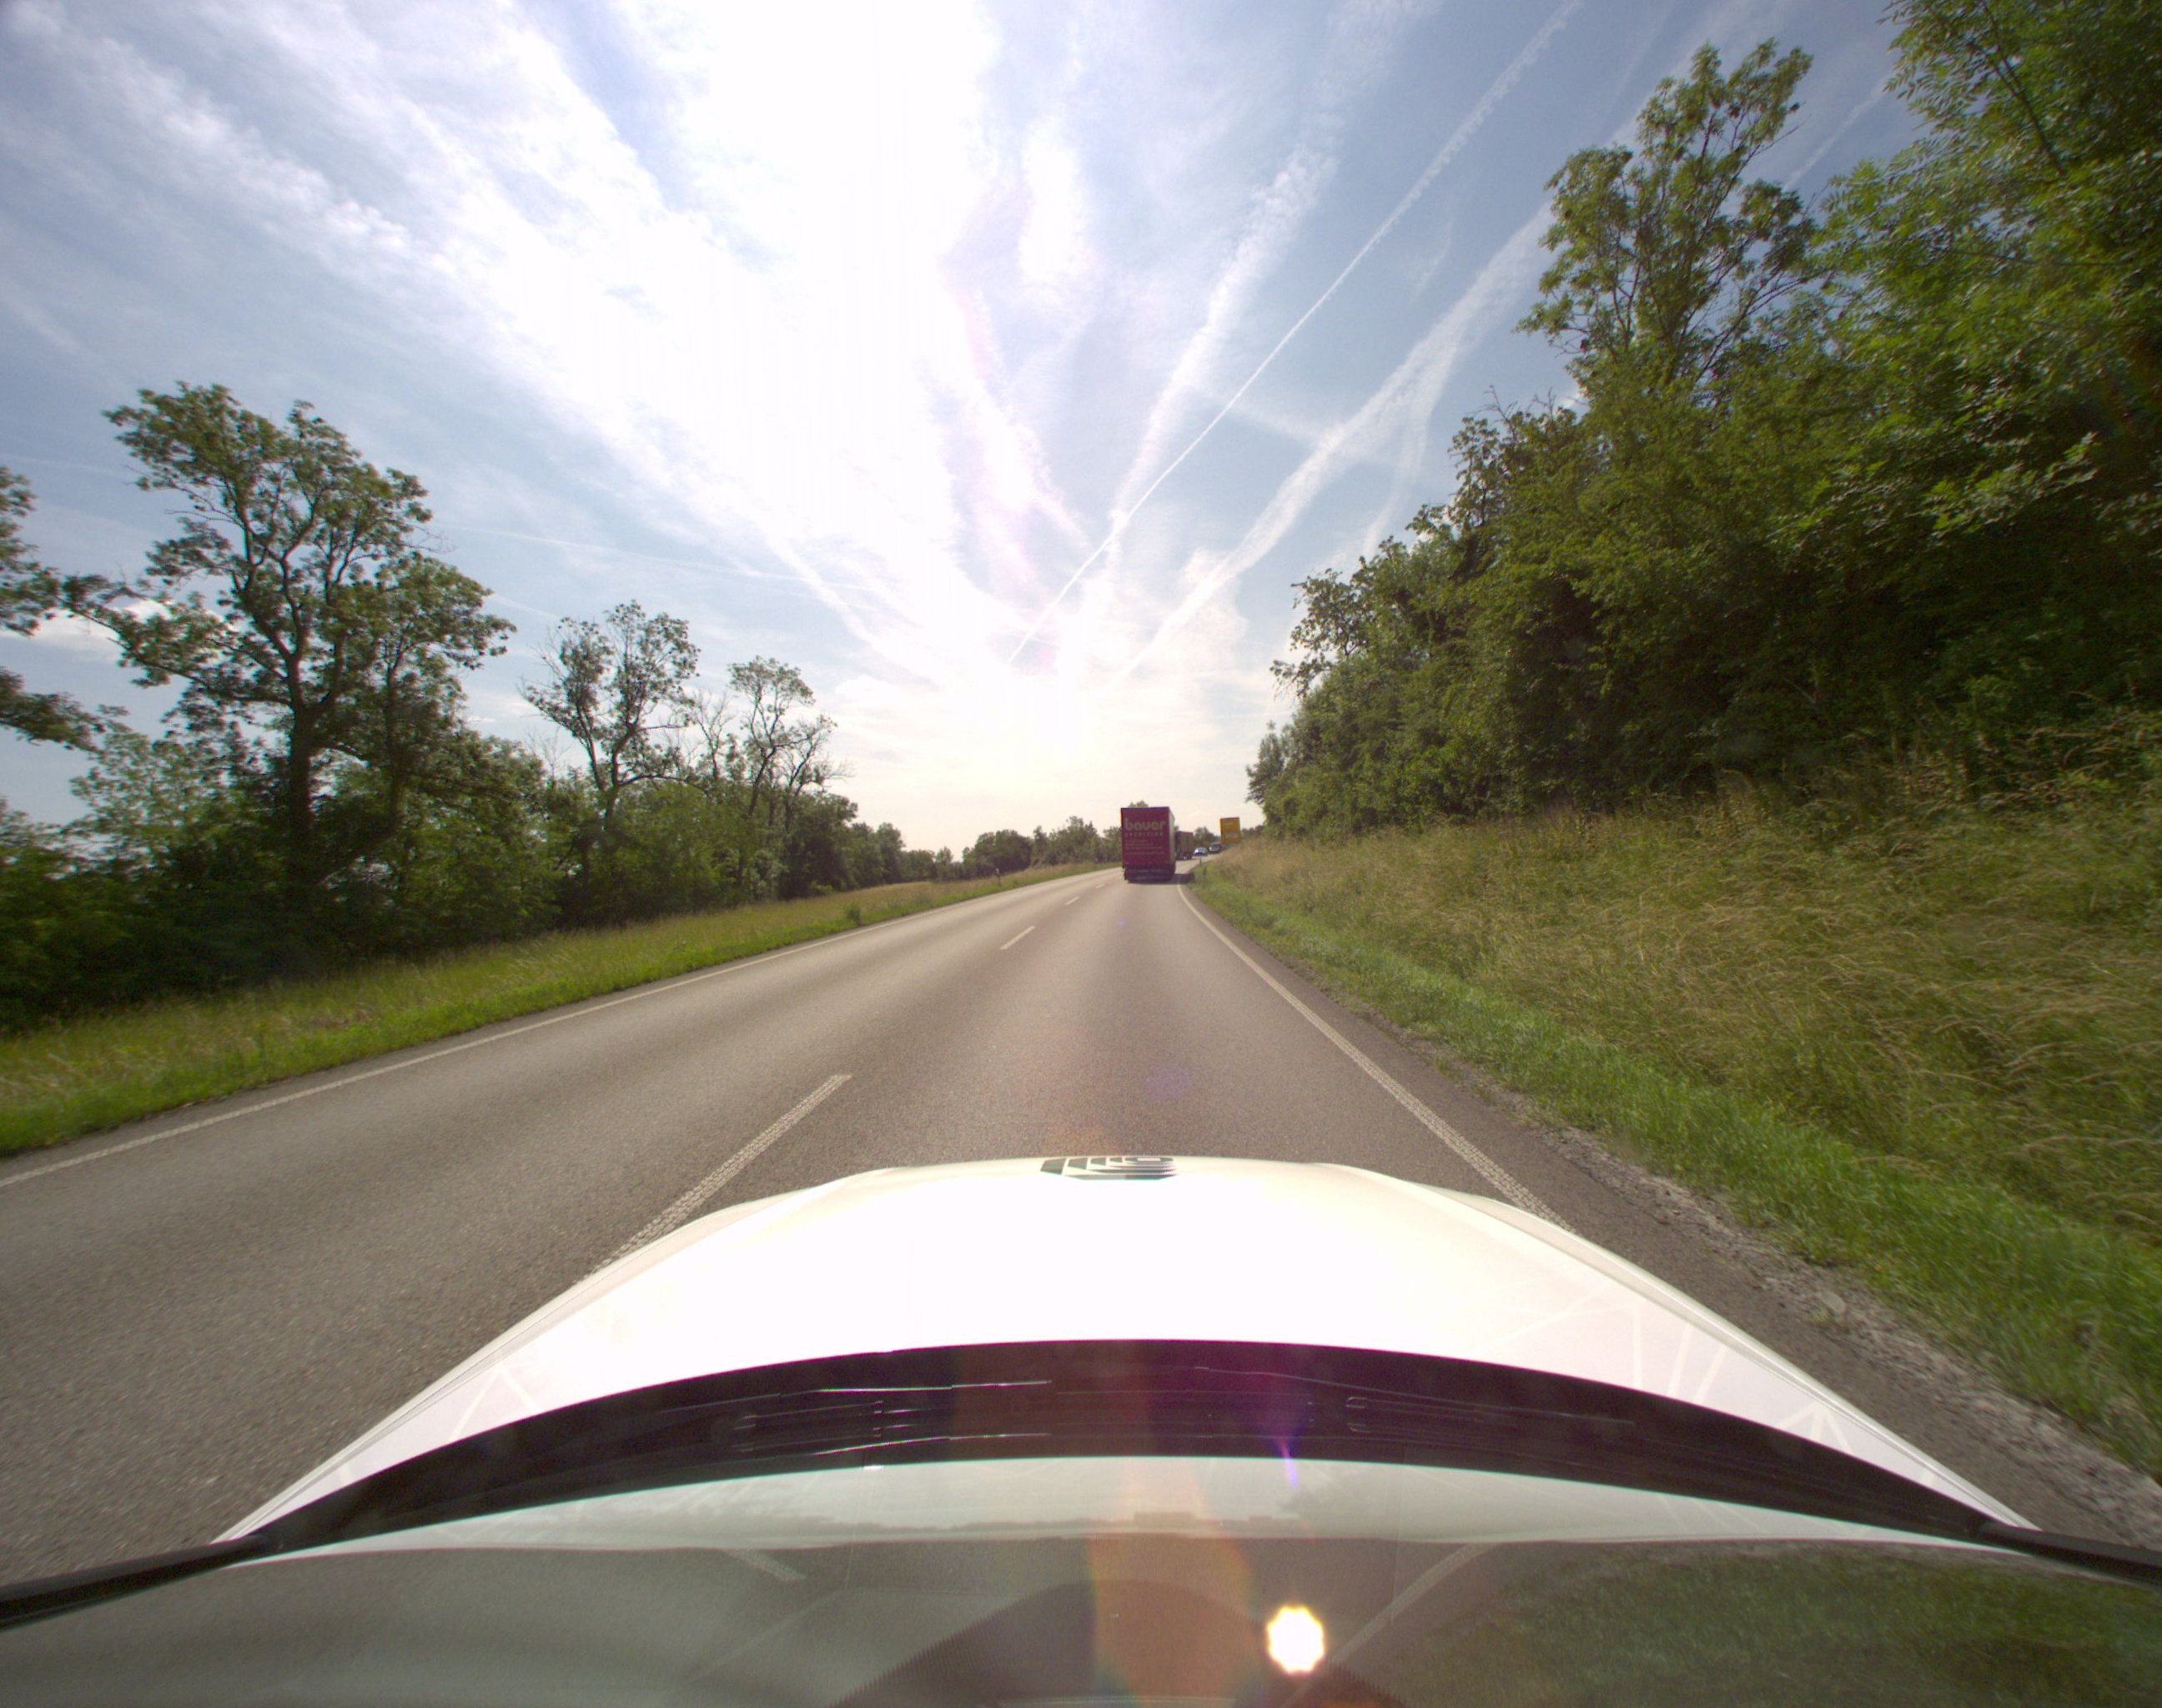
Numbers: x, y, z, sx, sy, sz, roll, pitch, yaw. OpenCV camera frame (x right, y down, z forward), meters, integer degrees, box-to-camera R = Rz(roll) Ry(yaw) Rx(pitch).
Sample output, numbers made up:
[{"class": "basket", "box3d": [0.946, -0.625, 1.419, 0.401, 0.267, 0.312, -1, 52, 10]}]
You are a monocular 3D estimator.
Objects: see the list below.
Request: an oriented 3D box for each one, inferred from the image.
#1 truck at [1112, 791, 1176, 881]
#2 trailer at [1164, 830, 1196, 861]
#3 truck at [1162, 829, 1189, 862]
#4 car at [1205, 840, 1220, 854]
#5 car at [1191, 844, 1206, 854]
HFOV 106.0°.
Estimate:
[{"class": "truck", "box3d": [3.977, -0.979, 48.153, 3.096, 4.505, 12.192, -2, 0, 7]}, {"class": "trailer", "box3d": [14.123, -1.132, 115.029, 2.976, 4.043, 12.962, -2, 0, 13]}, {"class": "truck", "box3d": [12.552, -1.113, 107.695, 2.788, 4.067, 6.005, -2, 0, 12]}, {"class": "car", "box3d": [24.793, -1.260, 152.943, 2.155, 2.303, 4.925, -6, 0, 14]}, {"class": "car", "box3d": [20.045, -0.910, 138.666, 1.848, 1.485, 4.379, -4, 0, 17]}]
